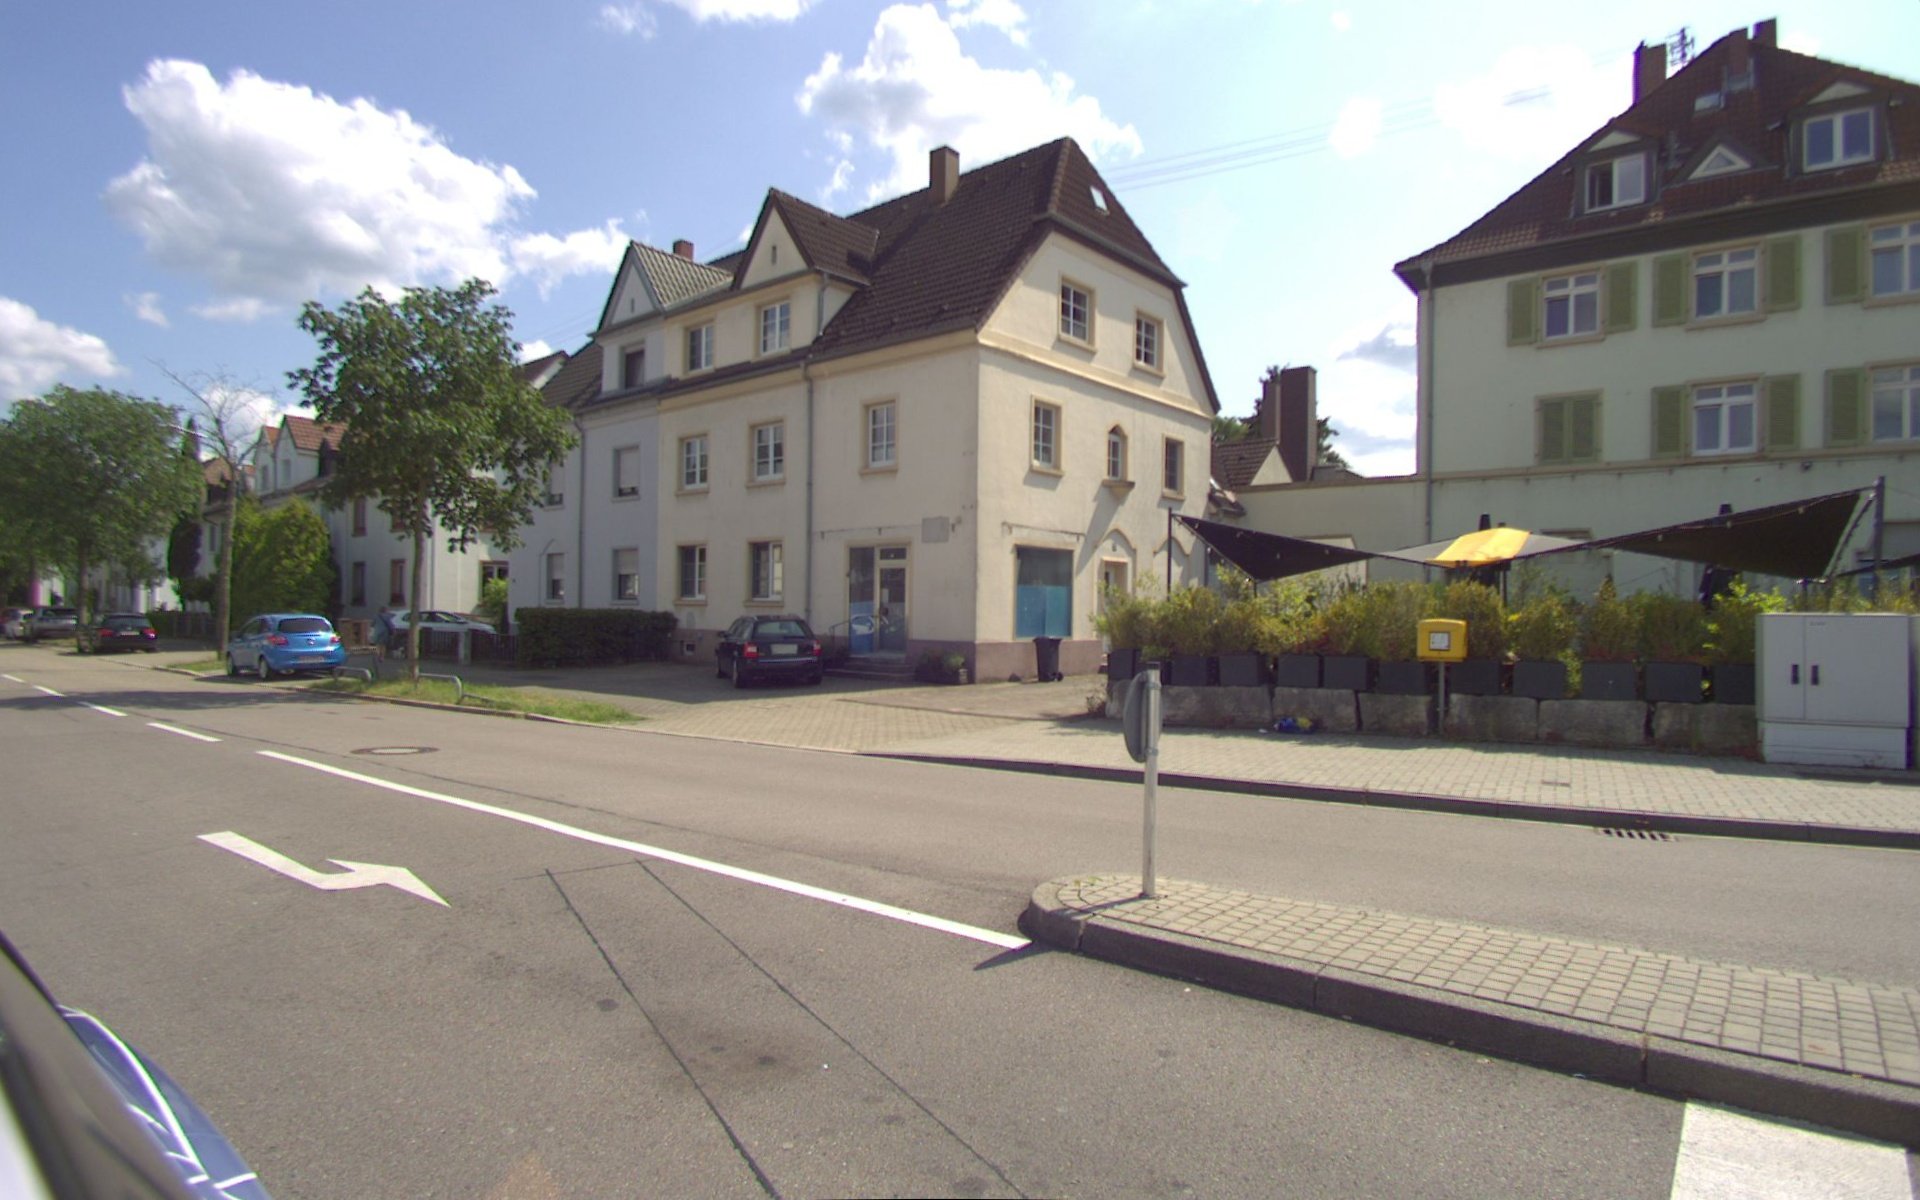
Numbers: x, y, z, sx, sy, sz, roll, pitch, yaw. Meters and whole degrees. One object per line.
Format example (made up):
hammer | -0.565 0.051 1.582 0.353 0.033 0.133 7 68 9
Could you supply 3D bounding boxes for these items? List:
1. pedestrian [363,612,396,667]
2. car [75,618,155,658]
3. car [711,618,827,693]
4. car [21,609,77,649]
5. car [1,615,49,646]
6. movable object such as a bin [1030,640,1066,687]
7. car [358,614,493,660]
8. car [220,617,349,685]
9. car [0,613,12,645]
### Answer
pedestrian | -16.535 1.124 28.832 0.618 1.547 0.623 -1 -2 42
car | -29.364 1.287 35.134 3.918 1.306 1.686 -1 -2 44
car | -4.077 1.087 21.095 1.732 1.397 4.115 1 -1 -20
car | -39.859 1.268 44.243 3.574 1.667 1.541 -1 -2 44
car | -44.496 1.427 48.129 1.601 1.436 3.003 1 -1 -44
movable object such as a bin | 1.893 1.345 21.680 0.510 0.979 0.608 -1 -2 40
car | -18.261 1.249 34.677 1.711 1.465 3.754 -1 -2 43
car | -15.763 1.147 23.592 3.152 1.473 1.688 -1 -2 40
car | -51.561 1.511 53.760 3.251 1.667 1.541 -1 -2 44
